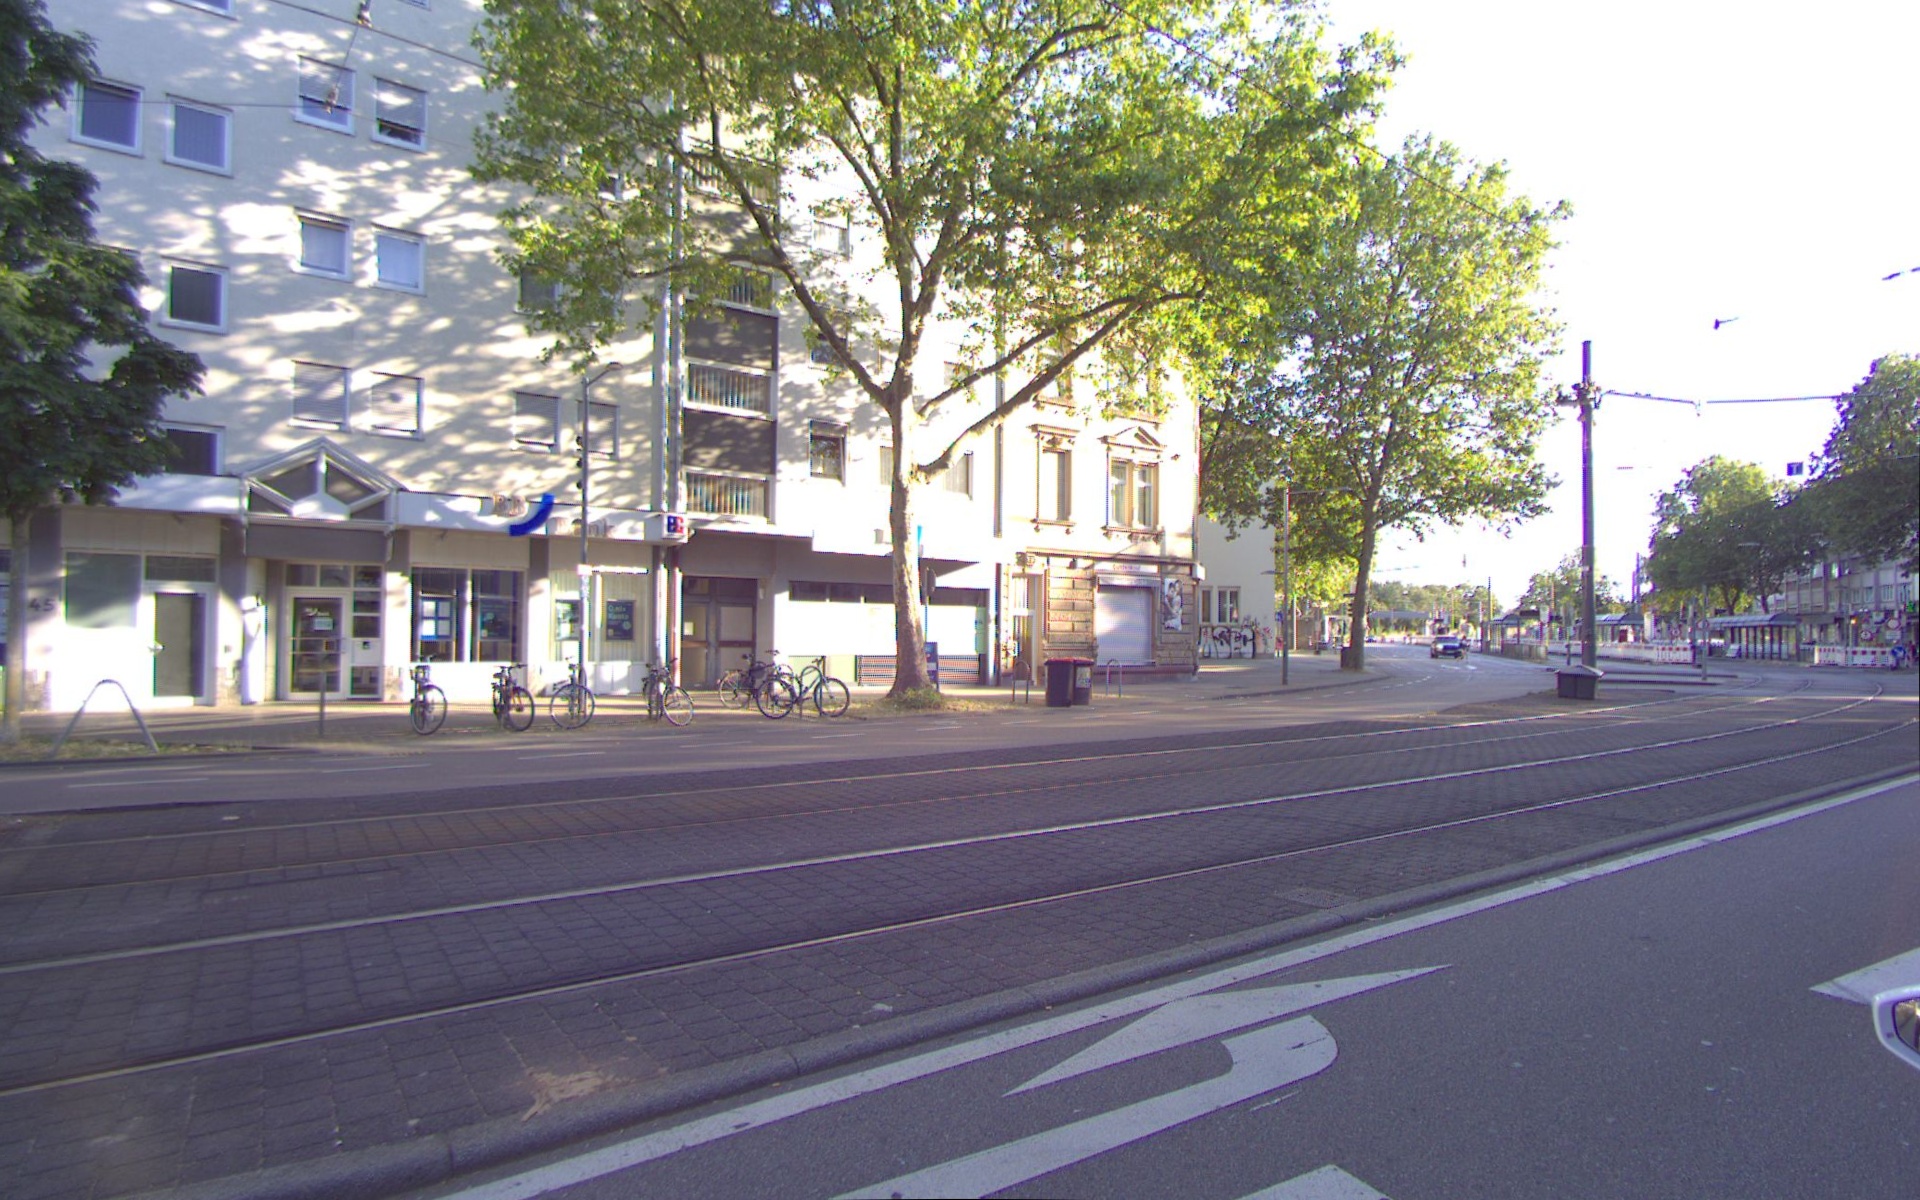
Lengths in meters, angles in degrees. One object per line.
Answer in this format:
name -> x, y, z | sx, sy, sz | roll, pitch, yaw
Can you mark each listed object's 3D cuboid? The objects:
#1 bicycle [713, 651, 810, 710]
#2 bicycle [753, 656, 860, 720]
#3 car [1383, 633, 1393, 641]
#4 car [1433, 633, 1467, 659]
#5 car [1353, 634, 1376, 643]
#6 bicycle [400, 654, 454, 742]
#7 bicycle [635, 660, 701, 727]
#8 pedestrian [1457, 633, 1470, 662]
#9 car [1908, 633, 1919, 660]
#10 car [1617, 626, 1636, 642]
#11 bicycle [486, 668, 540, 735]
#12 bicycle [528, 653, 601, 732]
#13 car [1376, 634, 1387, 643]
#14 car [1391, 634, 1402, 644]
bicycle -> -3.936, 1.581, 19.973 | 1.777, 1.132, 0.617 | 2, -2, -29
bicycle -> -2.778, 1.570, 18.201 | 1.800, 1.091, 0.649 | 2, -2, -29
car -> 89.585, 7.742, 210.265 | 1.814, 1.706, 3.716 | 0, -2, 23
car -> 32.981, 3.102, 67.697 | 1.962, 1.661, 3.997 | 0, -2, 25
car -> 78.253, 7.373, 194.272 | 3.919, 1.661, 1.792 | 0, -2, 13
bicycle -> -7.833, 1.396, 14.746 | 0.506, 1.153, 1.729 | 2, -1, -34
bicycle -> -5.008, 1.565, 17.166 | 0.584, 1.002, 1.729 | 2, -1, -34
pedestrian -> 29.409, 2.768, 58.684 | 0.645, 1.678, 0.444 | 0, -2, 18
car -> 64.405, 3.091, 65.697 | 1.960, 1.815, 4.000 | 2, -1, 20
car -> 88.180, 4.473, 132.909 | 1.593, 2.040, 3.110 | 0, -2, 26
bicycle -> -6.932, 1.543, 15.535 | 0.467, 0.900, 1.729 | 2, -1, -34
bicycle -> -6.353, 1.445, 16.075 | 0.724, 1.128, 1.729 | 2, -1, -34
car -> 79.466, 7.195, 189.317 | 1.814, 1.706, 3.716 | 0, -2, 23
car -> 78.786, 7.031, 181.334 | 1.814, 1.706, 3.715 | -2, -2, 23
